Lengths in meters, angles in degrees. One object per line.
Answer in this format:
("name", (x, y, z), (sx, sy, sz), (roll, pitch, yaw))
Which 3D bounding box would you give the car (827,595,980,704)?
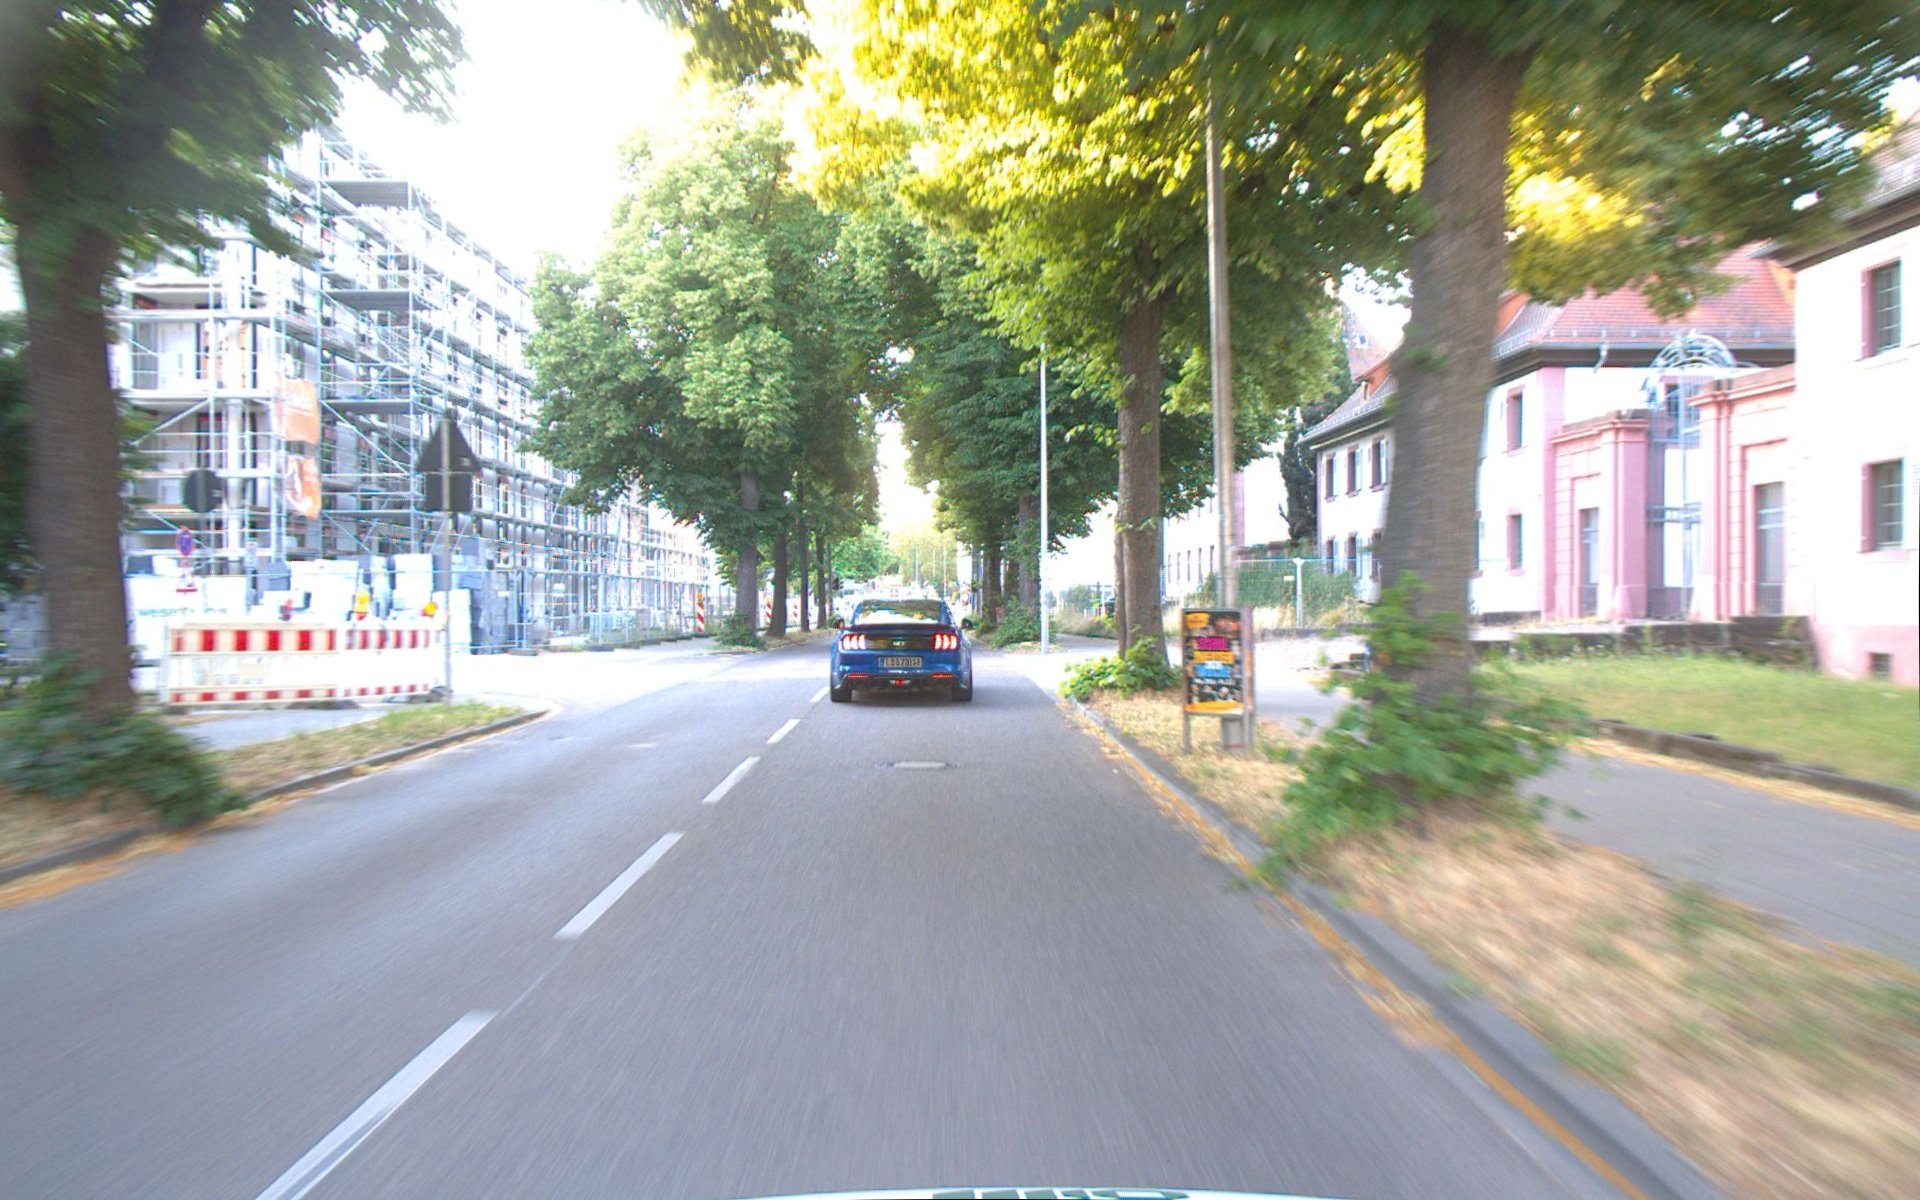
("car", (-0.757, 0.629, 22.942), (1.907, 1.350, 3.999), (1, 0, -1))

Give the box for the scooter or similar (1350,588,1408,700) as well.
("scooter or similar", (5.022, 0.522, 19.883), (0.234, 1.298, 1.265), (-1, -1, -6))

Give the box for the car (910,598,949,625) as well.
("car", (-1.622, 0.616, 88.728), (1.907, 1.350, 4.000), (1, 0, 1))

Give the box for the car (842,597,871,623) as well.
("car", (-9.493, 0.900, 152.108), (2.288, 2.236, 5.309), (-1, 0, 0))

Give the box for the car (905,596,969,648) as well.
("car", (-0.697, 0.667, 52.829), (1.907, 1.554, 4.000), (1, 0, 1))

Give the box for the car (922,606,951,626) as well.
("car", (-1.630, 1.079, 113.610), (1.907, 1.350, 3.999), (1, 0, -1))

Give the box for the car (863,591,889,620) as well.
("car", (-8.268, 0.560, 163.463), (2.442, 2.744, 5.828), (-1, 0, -2))
